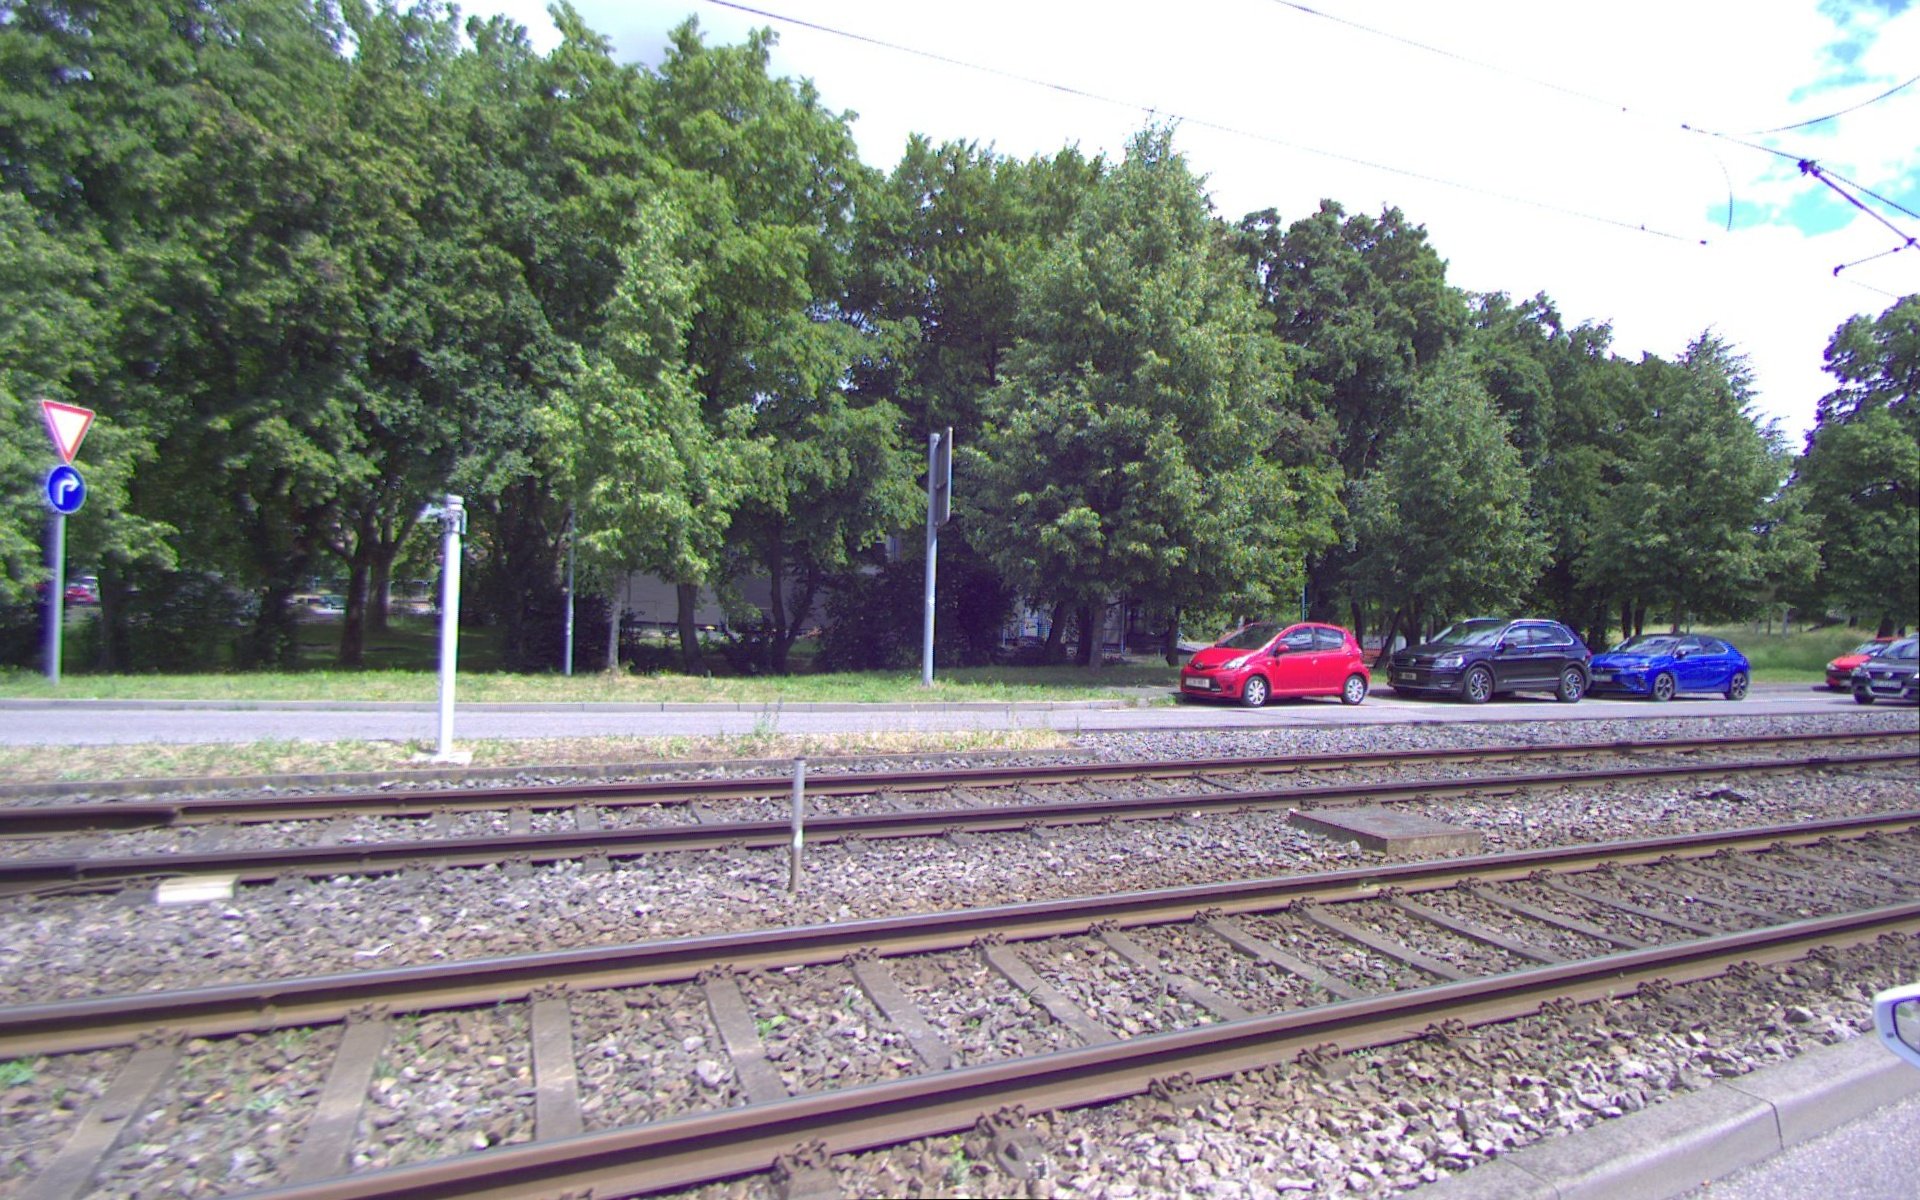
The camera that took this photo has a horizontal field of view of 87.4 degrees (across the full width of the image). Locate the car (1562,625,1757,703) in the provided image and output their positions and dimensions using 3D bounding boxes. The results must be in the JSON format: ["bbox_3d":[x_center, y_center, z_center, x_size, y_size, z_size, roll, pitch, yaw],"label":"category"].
[{"bbox_3d":[15.493,1.424,22.254,3.950,1.480,1.609,3,1,-22],"label":"car"}]

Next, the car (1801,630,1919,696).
[{"bbox_3d":[24.184,1.669,26.333,3.990,1.513,1.609,3,1,-23],"label":"car"}]

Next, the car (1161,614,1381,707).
[{"bbox_3d":[5.621,1.095,18.127,3.613,1.471,1.608,3,1,-26],"label":"car"}]

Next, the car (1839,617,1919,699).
[{"bbox_3d":[21.016,1.284,21.590,3.944,1.595,1.609,3,1,-24],"label":"car"}]

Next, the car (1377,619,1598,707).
[{"bbox_3d":[10.623,1.212,20.209,4.312,1.626,1.577,1,-1,-23],"label":"car"}]
